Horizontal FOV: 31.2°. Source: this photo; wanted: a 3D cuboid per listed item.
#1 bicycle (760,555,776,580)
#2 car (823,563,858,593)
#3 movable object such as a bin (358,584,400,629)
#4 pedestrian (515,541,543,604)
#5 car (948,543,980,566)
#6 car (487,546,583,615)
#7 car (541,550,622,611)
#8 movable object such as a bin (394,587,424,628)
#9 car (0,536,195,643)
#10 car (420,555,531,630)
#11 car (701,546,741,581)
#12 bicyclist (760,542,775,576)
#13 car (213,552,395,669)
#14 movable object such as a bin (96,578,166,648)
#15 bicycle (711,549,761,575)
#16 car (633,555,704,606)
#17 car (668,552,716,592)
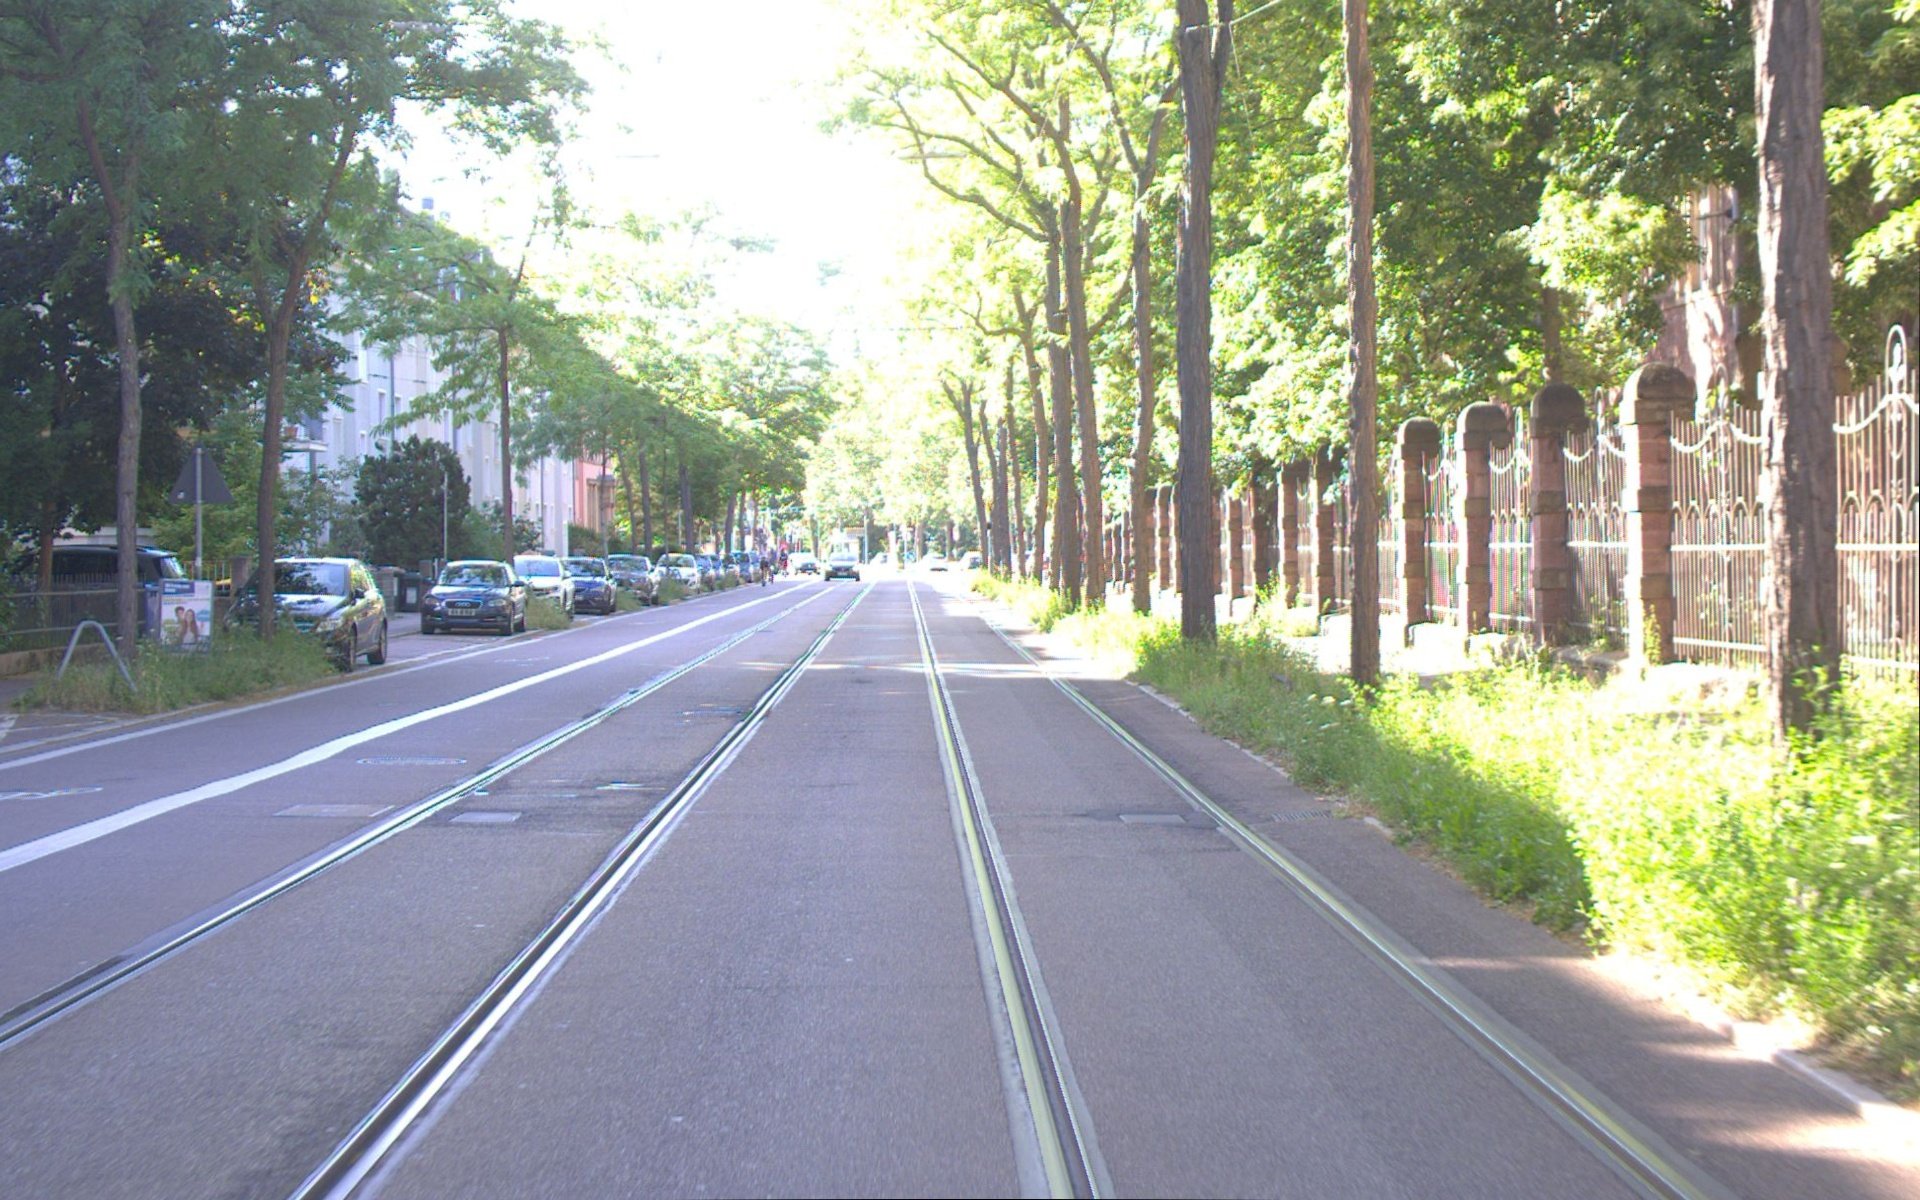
[{"bbox_3d":[-9.404,-1.573,168.165,0.626,1.173,1.913,-3,1,-1],"label":"bicycle"},{"bbox_3d":[-6.055,-1.123,174.033,1.757,1.434,4.524,0,1,-2],"label":"car"},{"bbox_3d":[-14.075,0.150,83.325,0.844,1.042,0.732,2,1,2],"label":"movable object such as a bin"},{"bbox_3d":[-12.400,-0.805,98.877,0.691,1.795,0.813,-1,1,-1],"label":"pedestrian"},{"bbox_3d":[0.269,-3.286,246.641,1.942,1.605,4.001,0,1,-6],"label":"car"},{"bbox_3d":[-9.794,-0.474,79.440,1.817,1.506,4.372,1,1,-2],"label":"car"},{"bbox_3d":[-9.842,-0.531,89.645,1.757,1.506,4.439,1,1,-2],"label":"car"},{"bbox_3d":[-13.354,0.186,83.286,0.559,0.972,0.732,2,1,2],"label":"movable object such as a bin"},{"bbox_3d":[-14.553,-0.188,55.130,4.165,1.653,1.984,1,1,-2],"label":"car"},{"bbox_3d":[-9.540,-0.169,67.962,1.705,1.401,4.334,1,1,-2],"label":"car"},{"bbox_3d":[-10.201,-1.567,146.854,1.560,1.452,3.931,2,1,-3],"label":"car"},{"bbox_3d":[-9.423,-1.993,168.093,0.626,1.633,0.940,-3,1,-1],"label":"bicyclist"},{"bbox_3d":[-9.238,0.111,48.711,1.776,1.536,4.486,1,1,-1],"label":"car"},{"bbox_3d":[-12.717,0.196,52.736,0.875,1.062,0.814,-1,1,-1],"label":"movable object such as a bin"},{"bbox_3d":[-10.813,-1.844,166.075,2.285,1.194,0.559,2,2,6],"label":"bicycle"},{"bbox_3d":[-8.709,-0.602,102.948,1.817,1.480,4.206,1,1,-1],"label":"car"},{"bbox_3d":[-10.647,-1.120,136.882,1.687,1.480,3.760,2,1,-2],"label":"car"}]
